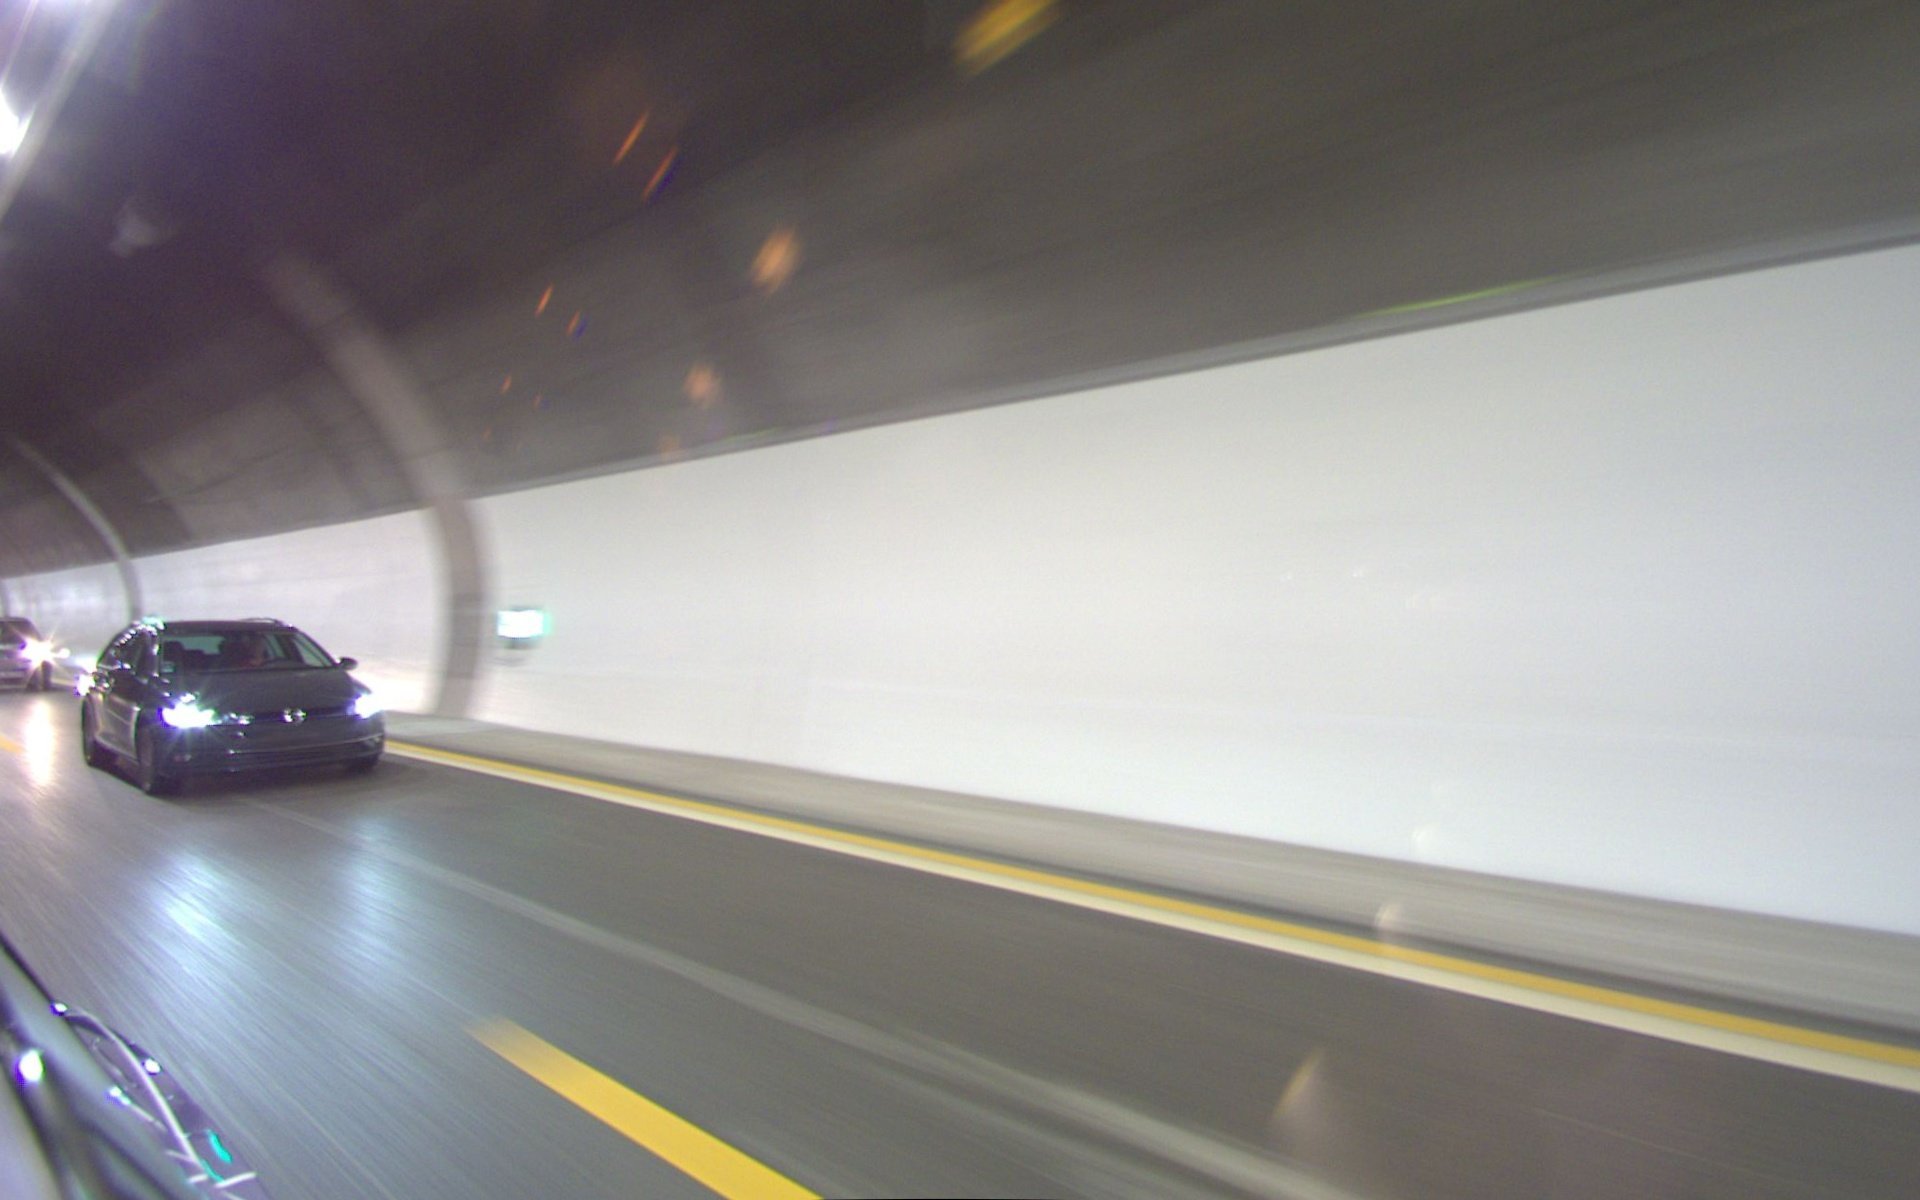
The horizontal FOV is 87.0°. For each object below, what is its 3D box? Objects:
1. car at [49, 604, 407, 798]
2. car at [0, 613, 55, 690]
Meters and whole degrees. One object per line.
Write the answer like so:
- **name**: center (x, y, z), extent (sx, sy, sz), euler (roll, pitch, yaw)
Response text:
- **car**: center (-7.381, 0.816, 9.977), extent (4.879, 1.449, 1.760), euler (-1, 0, 41)
- **car**: center (-20.056, 1.050, 21.000), extent (2.649, 1.528, 1.512), euler (-1, -1, 39)
